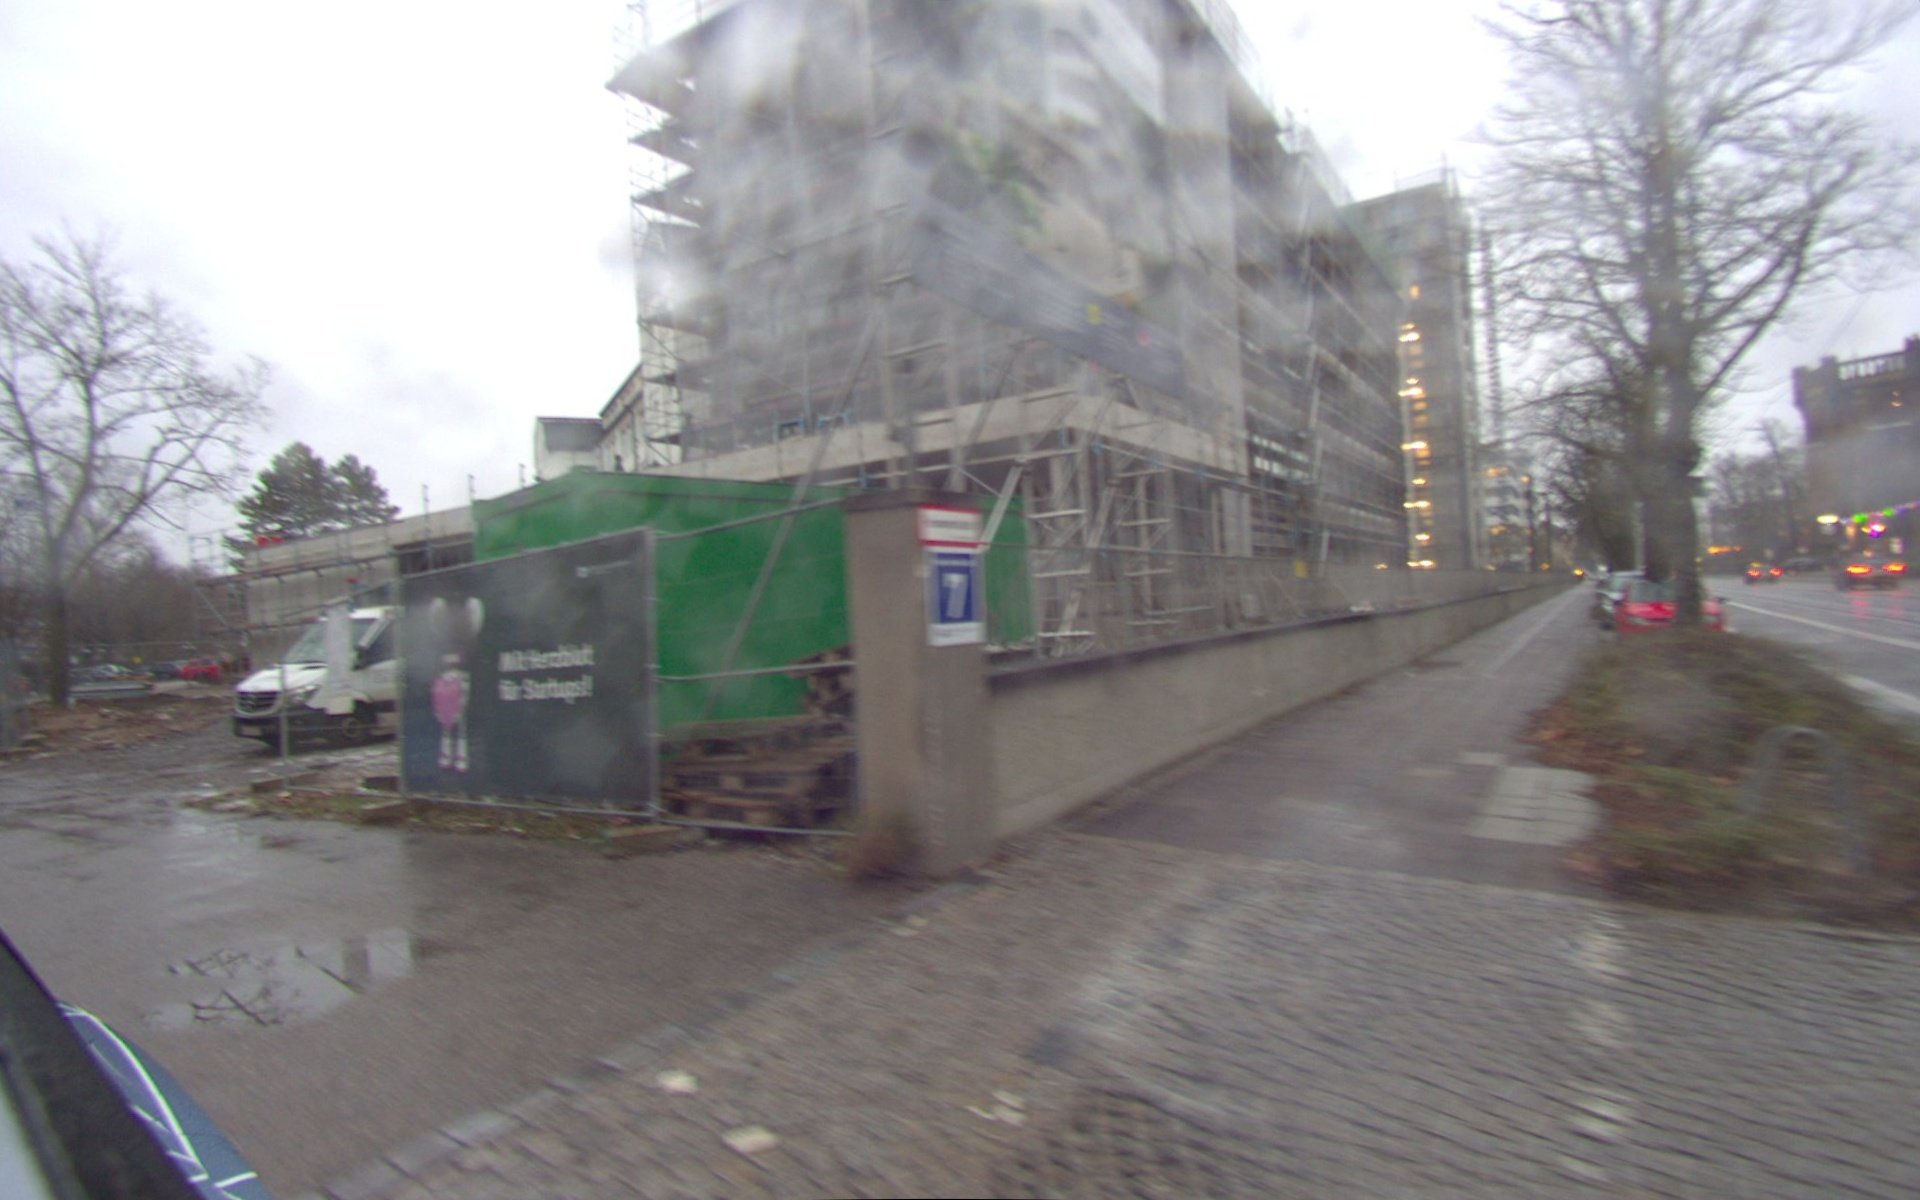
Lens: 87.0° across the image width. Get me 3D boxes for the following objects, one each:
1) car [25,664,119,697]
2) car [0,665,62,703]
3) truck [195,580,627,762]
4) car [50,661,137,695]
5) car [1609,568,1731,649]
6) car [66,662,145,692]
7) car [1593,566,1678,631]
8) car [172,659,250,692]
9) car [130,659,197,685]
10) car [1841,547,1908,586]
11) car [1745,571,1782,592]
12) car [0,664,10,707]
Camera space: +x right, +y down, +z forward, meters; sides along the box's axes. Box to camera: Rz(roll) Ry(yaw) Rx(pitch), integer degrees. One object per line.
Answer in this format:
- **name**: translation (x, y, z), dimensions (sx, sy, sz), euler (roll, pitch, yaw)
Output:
- **car**: translation (-54.526, 4.931, 62.214), dimensions (3.931, 1.674, 2.006), euler (-2, -1, -27)
- **car**: translation (-49.814, 4.435, 52.877), dimensions (3.931, 1.809, 1.808), euler (-2, -1, -27)
- **truck**: translation (-9.549, 1.047, 18.656), dimensions (2.120, 2.607, 7.021), euler (-4, 0, 25)
- **car**: translation (-55.749, 4.990, 65.184), dimensions (3.931, 1.809, 1.808), euler (-2, -1, -27)
- **car**: translation (13.999, 0.146, 20.049), dimensions (1.750, 1.397, 3.693), euler (-4, -1, 34)
- **car**: translation (-60.315, 5.393, 71.484), dimensions (3.931, 1.809, 1.808), euler (-2, -1, -27)
- **car**: translation (18.447, -0.046, 27.656), dimensions (1.750, 1.596, 3.693), euler (-4, -1, 34)
- **car**: translation (-40.942, 4.104, 55.416), dimensions (3.253, 1.534, 1.709), euler (-2, -1, -31)
- **car**: translation (-64.509, 5.784, 82.042), dimensions (3.931, 1.809, 1.808), euler (-2, -1, -27)
- **car**: translation (41.812, -1.490, 46.343), dimensions (1.709, 1.591, 4.326), euler (-4, -1, 36)
- **car**: translation (61.351, -1.402, 77.287), dimensions (1.762, 1.421, 3.955), euler (-4, -1, 33)
- **car**: translation (-46.669, 4.070, 46.509), dimensions (3.931, 2.007, 2.006), euler (-2, -1, -27)
